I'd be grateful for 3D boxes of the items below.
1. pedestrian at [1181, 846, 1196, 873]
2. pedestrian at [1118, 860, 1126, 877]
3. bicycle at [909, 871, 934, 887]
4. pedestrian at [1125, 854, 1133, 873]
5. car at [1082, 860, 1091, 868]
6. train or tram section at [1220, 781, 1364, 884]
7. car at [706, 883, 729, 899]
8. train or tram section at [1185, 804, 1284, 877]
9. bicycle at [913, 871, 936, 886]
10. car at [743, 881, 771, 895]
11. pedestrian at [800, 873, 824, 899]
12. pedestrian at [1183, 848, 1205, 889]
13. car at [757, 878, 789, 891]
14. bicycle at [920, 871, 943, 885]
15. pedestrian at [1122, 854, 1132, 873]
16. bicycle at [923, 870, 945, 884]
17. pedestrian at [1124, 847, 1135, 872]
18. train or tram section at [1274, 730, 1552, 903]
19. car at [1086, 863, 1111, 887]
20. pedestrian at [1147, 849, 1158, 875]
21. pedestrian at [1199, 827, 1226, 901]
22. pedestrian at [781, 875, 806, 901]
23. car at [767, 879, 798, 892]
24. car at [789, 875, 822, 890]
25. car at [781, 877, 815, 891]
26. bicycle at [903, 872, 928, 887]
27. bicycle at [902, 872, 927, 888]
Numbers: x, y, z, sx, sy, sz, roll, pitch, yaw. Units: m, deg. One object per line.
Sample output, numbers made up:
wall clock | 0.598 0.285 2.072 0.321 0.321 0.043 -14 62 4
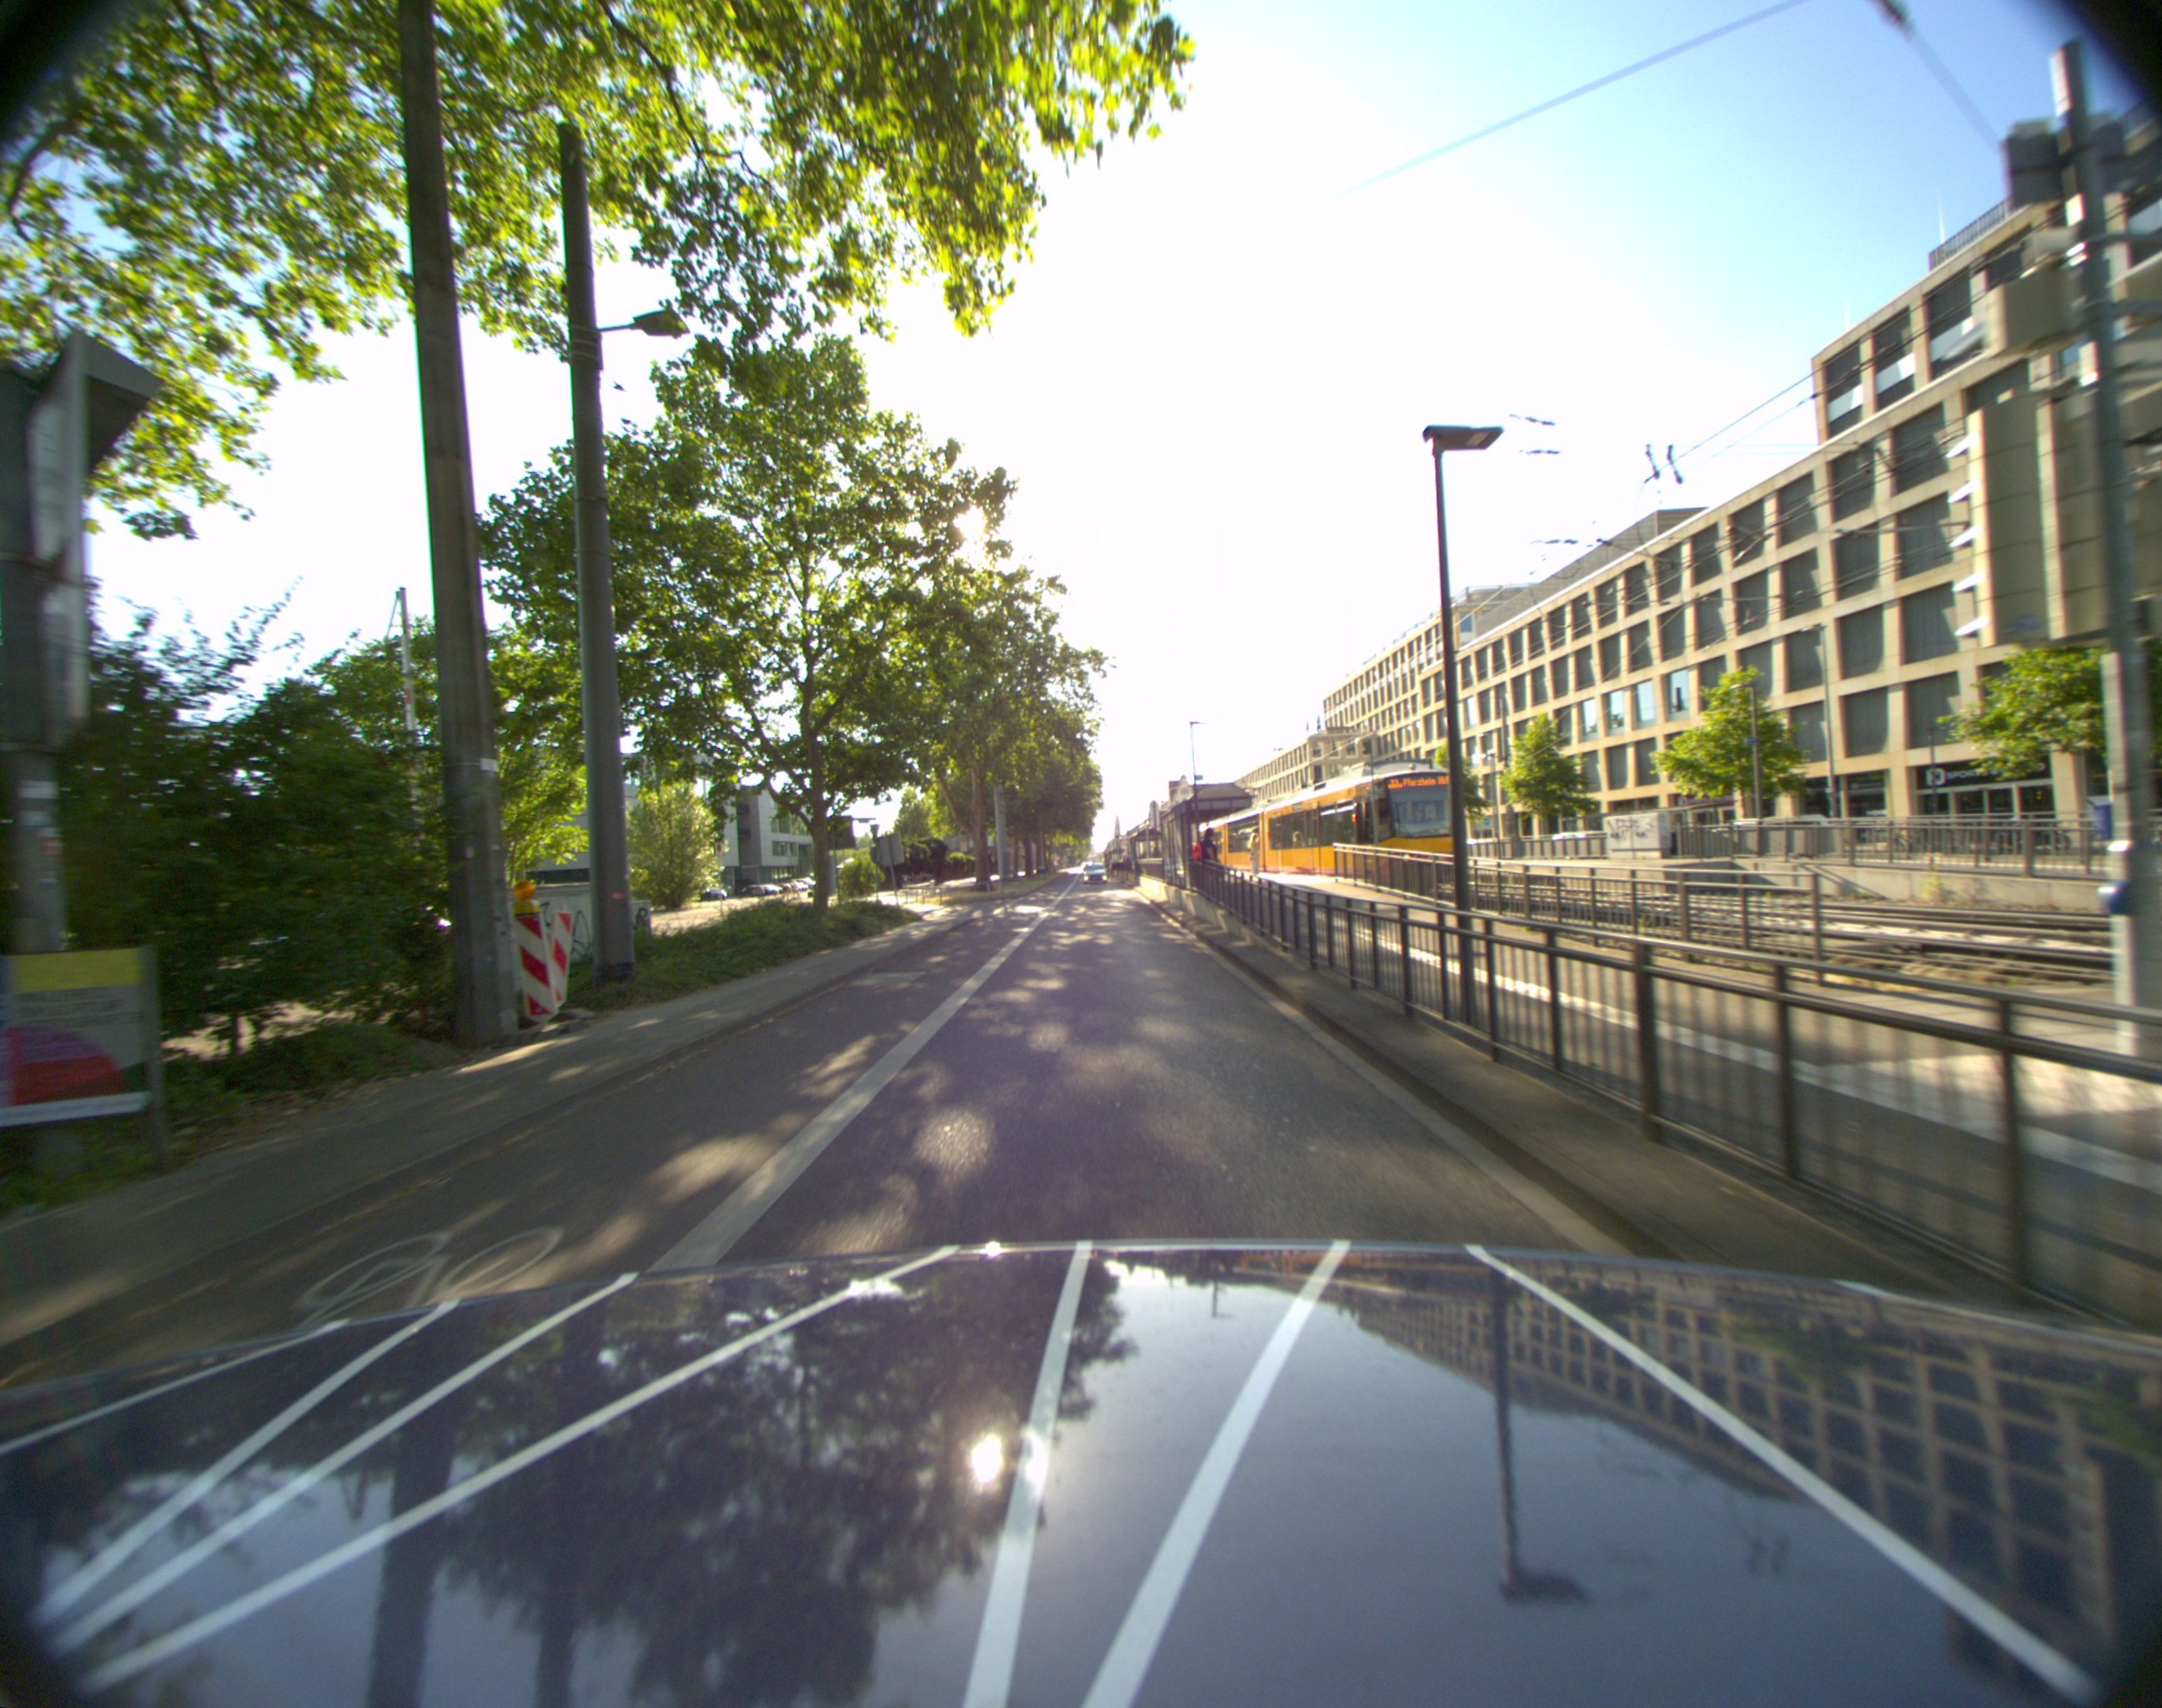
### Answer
pedestrian | 7.270 0.364 51.300 0.795 1.774 0.625 -4 0 1
pedestrian | 4.005 1.414 73.981 0.615 1.539 0.725 -4 0 11
bicycle | -12.614 1.977 60.071 1.777 1.114 0.439 -2 0 0
pedestrian | 4.326 0.832 68.137 0.613 1.659 0.613 -4 0 2
car | 1.183 2.308 170.439 1.833 1.644 4.000 -4 0 1
train or tram section | 9.299 -0.796 35.496 3.317 3.807 11.844 -4 0 0
car | -40.197 4.077 84.016 1.652 1.655 3.658 -4 0 -34
train or tram section | 9.386 -0.705 48.775 3.317 3.807 14.219 -4 0 0
bicycle | -12.593 1.989 61.158 1.777 1.114 0.439 -2 0 0
car | -40.707 4.265 95.361 3.656 1.512 1.653 -4 0 39
pedestrian | -22.527 2.678 63.702 1.394 2.002 1.050 -4 1 13
pedestrian | 3.648 0.468 24.571 0.568 1.285 0.500 -4 0 0
car | -41.696 4.169 102.907 3.708 1.555 1.652 -4 0 20
bicycle | -12.639 2.006 64.242 1.777 1.114 0.439 -2 0 0
pedestrian | 4.063 0.856 66.714 0.614 1.632 0.612 -4 0 -19
bicycle | -12.625 2.010 65.309 1.692 1.114 0.439 -2 0 0
pedestrian | 3.547 0.416 55.443 0.613 1.774 0.613 -4 0 1
train or tram section | 9.217 -0.852 23.569 3.317 3.807 11.844 -4 0 0
car | 1.290 1.501 55.992 1.649 1.555 3.666 -4 0 0
pedestrian | 4.913 0.550 52.095 0.611 1.774 0.681 -4 0 1
pedestrian | 3.126 0.245 18.124 0.413 1.706 0.665 -4 0 1
pedestrian | -23.732 2.771 62.781 1.394 2.002 1.050 -4 1 13
car | -41.475 4.440 105.590 3.659 1.555 1.652 -4 0 19
car | -40.744 4.210 112.306 4.356 1.805 1.975 -4 0 24
car | -40.658 4.330 109.328 4.357 1.636 1.797 -4 0 20
bicycle | -12.853 1.976 59.028 1.777 1.114 0.439 -2 0 0
bicycle | -12.448 1.948 56.774 1.778 1.114 0.439 -2 0 -6
